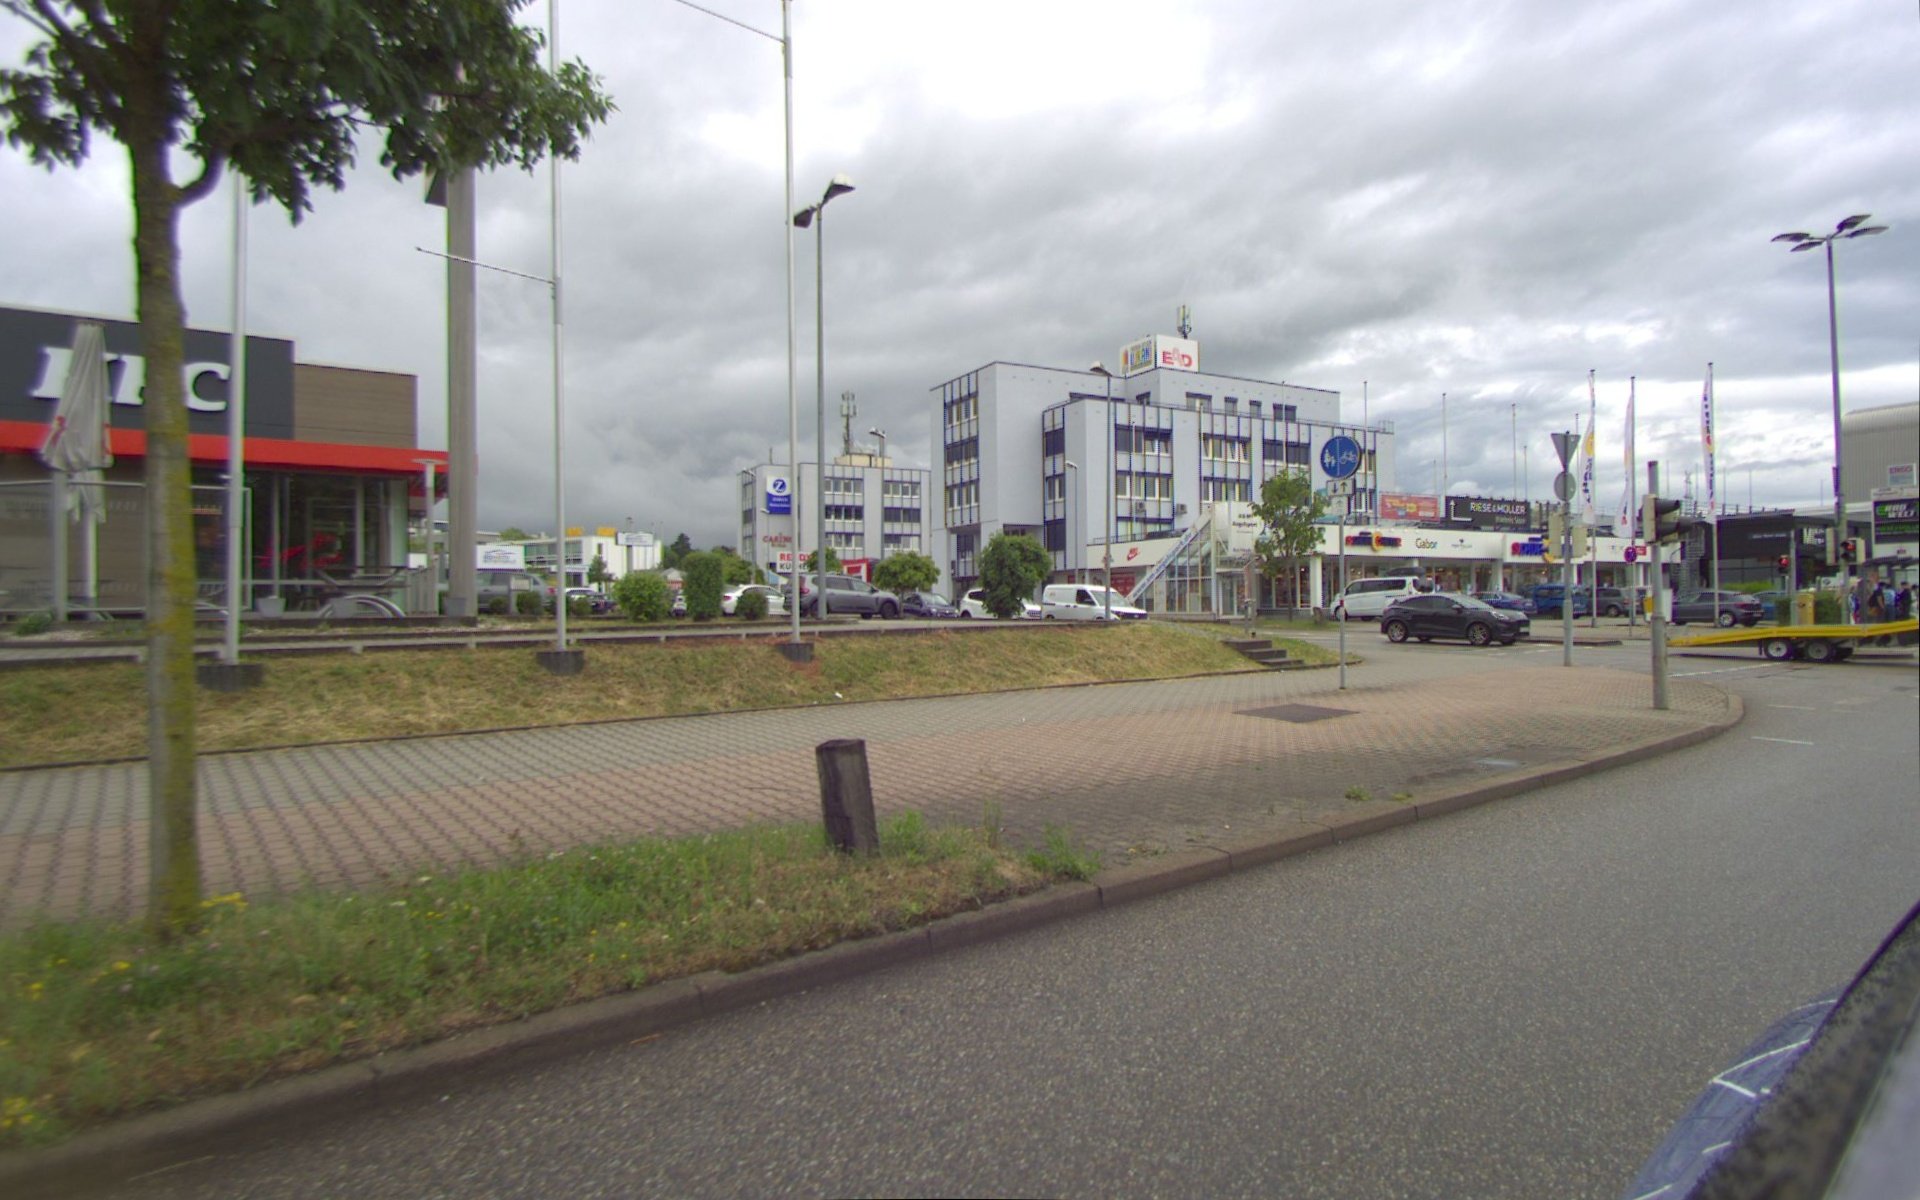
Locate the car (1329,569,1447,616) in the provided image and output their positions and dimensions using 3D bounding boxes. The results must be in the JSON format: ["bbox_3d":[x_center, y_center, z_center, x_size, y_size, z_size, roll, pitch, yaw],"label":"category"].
[{"bbox_3d":[19.472,-0.348,46.273,1.959,2.039,4.794,0,0,-27],"label":"car"}]

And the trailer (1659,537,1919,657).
[{"bbox_3d":[20.414,-0.055,22.263,2.268,2.505,7.965,0,-1,-37],"label":"trailer"}]

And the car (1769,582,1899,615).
[{"bbox_3d":[39.869,-0.080,46.257,1.861,1.411,4.132,0,1,-28],"label":"car"}]

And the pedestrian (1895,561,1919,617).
[{"bbox_3d":[34.738,-0.392,36.932,0.683,2.039,0.742,1,0,-29],"label":"pedestrian"}]

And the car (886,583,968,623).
[{"bbox_3d":[-1.482,0.102,43.651,1.788,1.618,4.003,0,1,-32],"label":"car"}]

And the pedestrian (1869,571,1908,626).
[{"bbox_3d":[32.746,-0.074,35.697,0.683,1.879,0.817,-2,2,-28],"label":"pedestrian"}]

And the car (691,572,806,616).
[{"bbox_3d":[-8.922,-0.236,42.867,4.419,1.762,1.892,0,0,-37],"label":"car"}]

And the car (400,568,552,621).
[{"bbox_3d":[-17.227,-0.205,36.125,4.655,1.762,1.892,0,1,-37],"label":"car"}]

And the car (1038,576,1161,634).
[{"bbox_3d":[4.607,0.153,34.013,1.763,1.806,4.252,2,-1,-32],"label":"car"}]

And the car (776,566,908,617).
[{"bbox_3d":[-4.280,-0.300,36.898,4.416,1.762,1.893,0,1,-35],"label":"car"}]

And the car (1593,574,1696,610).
[{"bbox_3d":[37.746,-0.443,55.934,1.858,1.930,4.380,0,1,-28],"label":"car"}]

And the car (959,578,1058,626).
[{"bbox_3d":[1.783,0.048,38.426,1.788,1.730,4.003,0,1,-32],"label":"car"}]

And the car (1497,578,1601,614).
[{"bbox_3d":[30.764,-0.236,53.009,1.858,1.786,4.380,0,1,-28],"label":"car"}]

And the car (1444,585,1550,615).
[{"bbox_3d":[26.406,-0.041,49.899,1.786,1.411,4.380,0,1,-28],"label":"car"}]

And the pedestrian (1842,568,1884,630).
[{"bbox_3d":[30.274,-0.041,33.931,0.805,2.039,0.693,1,1,18],"label":"pedestrian"}]

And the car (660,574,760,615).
[{"bbox_3d":[-11.633,-0.269,47.161,4.106,1.797,1.882,0,1,-35],"label":"car"}]

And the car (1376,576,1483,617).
[{"bbox_3d":[22.174,-0.182,47.964,1.858,1.843,4.380,0,1,-28],"label":"car"}]

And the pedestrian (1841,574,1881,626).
[{"bbox_3d":[31.524,-0.006,35.416,0.805,1.796,0.693,1,2,18],"label":"pedestrian"}]

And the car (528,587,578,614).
[{"bbox_3d":[-24.602,0.007,61.290,1.533,1.571,3.366,0,0,4],"label":"car"}]

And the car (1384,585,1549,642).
[{"bbox_3d":[14.969,0.353,30.088,1.781,1.559,3.999,-2,1,-36],"label":"car"}]

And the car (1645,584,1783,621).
[{"bbox_3d":[30.420,0.071,40.961,1.786,1.411,4.134,0,1,-25],"label":"car"}]

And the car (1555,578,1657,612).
[{"bbox_3d":[35.113,-0.295,55.122,1.858,1.786,4.380,0,1,-28],"label":"car"}]

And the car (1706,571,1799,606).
[{"bbox_3d":[48.043,-0.682,61.420,1.871,2.039,4.007,0,0,-25],"label":"car"}]
